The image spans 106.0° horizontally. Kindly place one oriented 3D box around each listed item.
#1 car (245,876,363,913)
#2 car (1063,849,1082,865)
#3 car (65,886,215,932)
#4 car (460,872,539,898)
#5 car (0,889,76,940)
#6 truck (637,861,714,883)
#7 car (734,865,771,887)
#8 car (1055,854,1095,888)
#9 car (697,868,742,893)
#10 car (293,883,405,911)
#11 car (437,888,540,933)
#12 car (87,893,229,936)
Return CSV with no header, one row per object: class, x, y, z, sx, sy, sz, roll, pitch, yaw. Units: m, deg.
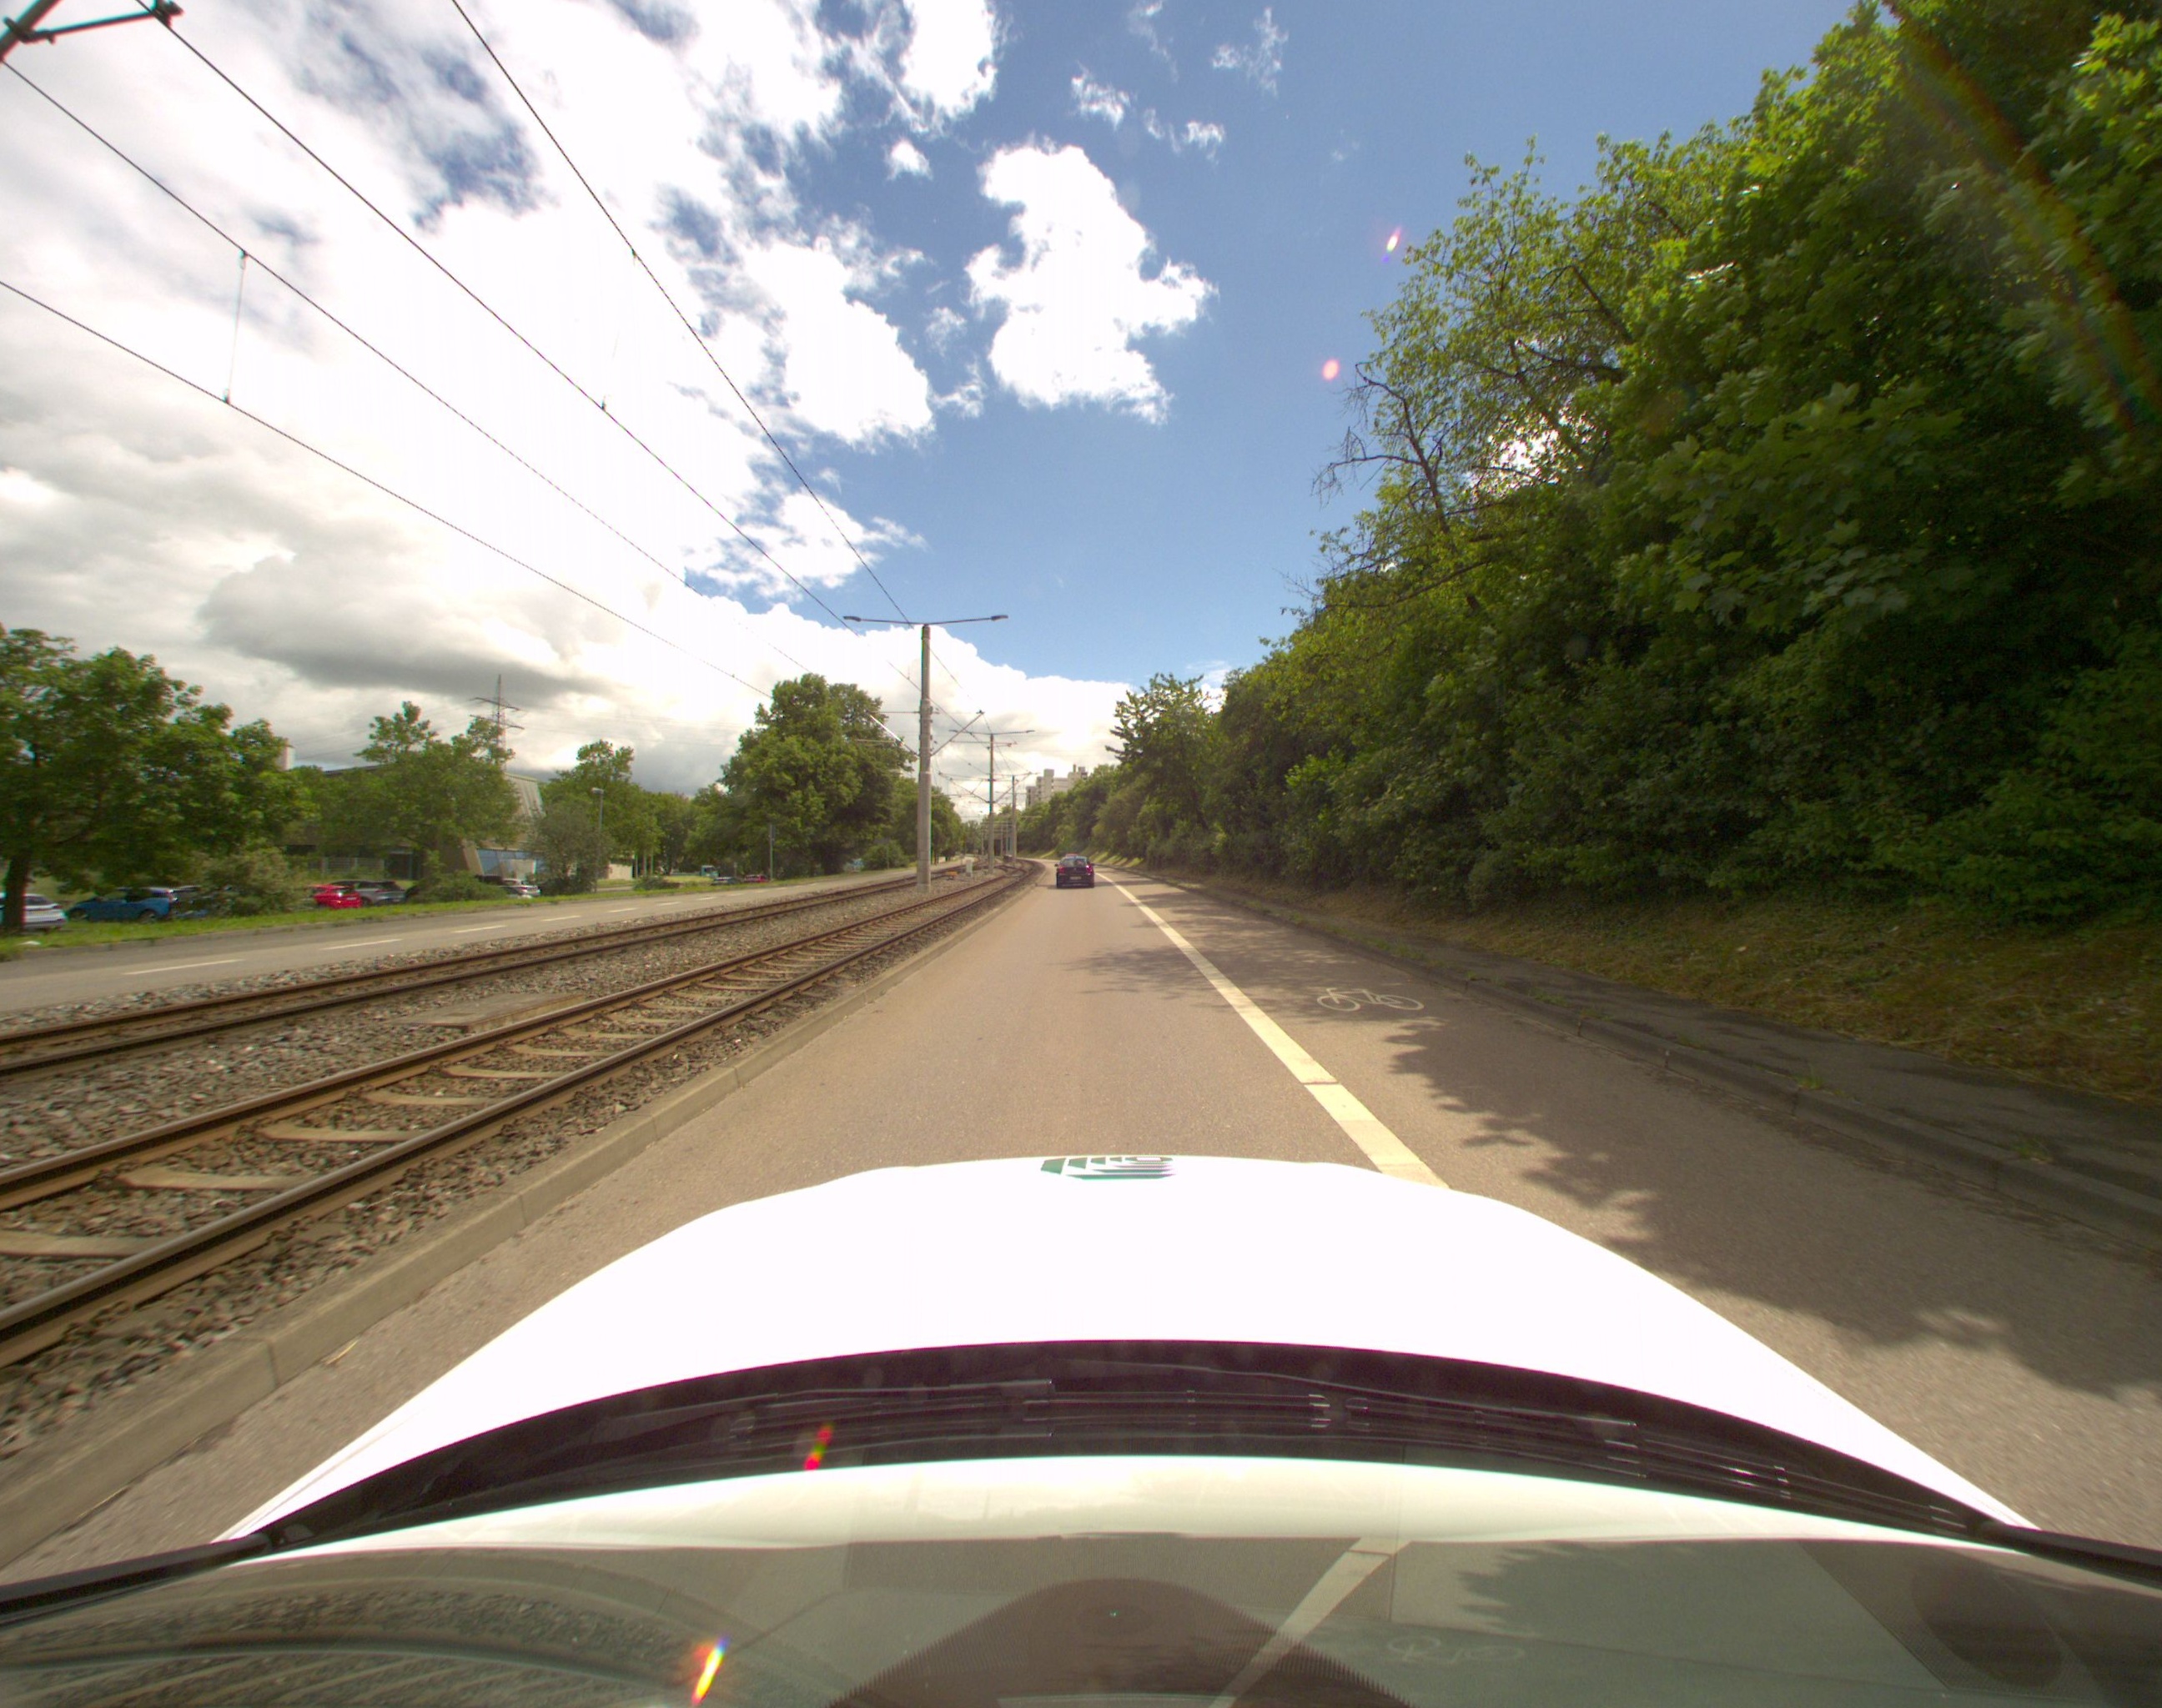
car,-37.905,1.944,39.778,3.936,1.580,1.999,1,1,4
car,-0.785,0.303,77.616,1.619,1.443,3.421,1,-1,1
car,-37.172,2.149,32.227,3.936,1.580,1.872,1,1,4
car,-38.455,2.051,53.866,3.965,1.599,1.862,1,-1,7
car,-37.733,2.045,28.016,3.905,1.580,1.841,1,1,-2
truck,-56.266,2.493,113.250,9.092,2.695,2.606,-2,0,-11
car,-29.142,1.918,72.353,1.812,1.772,3.995,-1,0,-3
car,-0.223,0.776,37.528,1.702,1.460,3.960,1,-1,1
car,-28.894,2.083,65.199,1.810,1.772,4.000,-1,0,0
car,-37.774,2.191,42.094,4.063,1.252,1.999,1,1,4
car,-27.956,2.622,38.596,1.984,1.755,4.066,1,1,-2
car,-39.251,2.563,34.693,3.936,1.580,1.996,1,1,4
